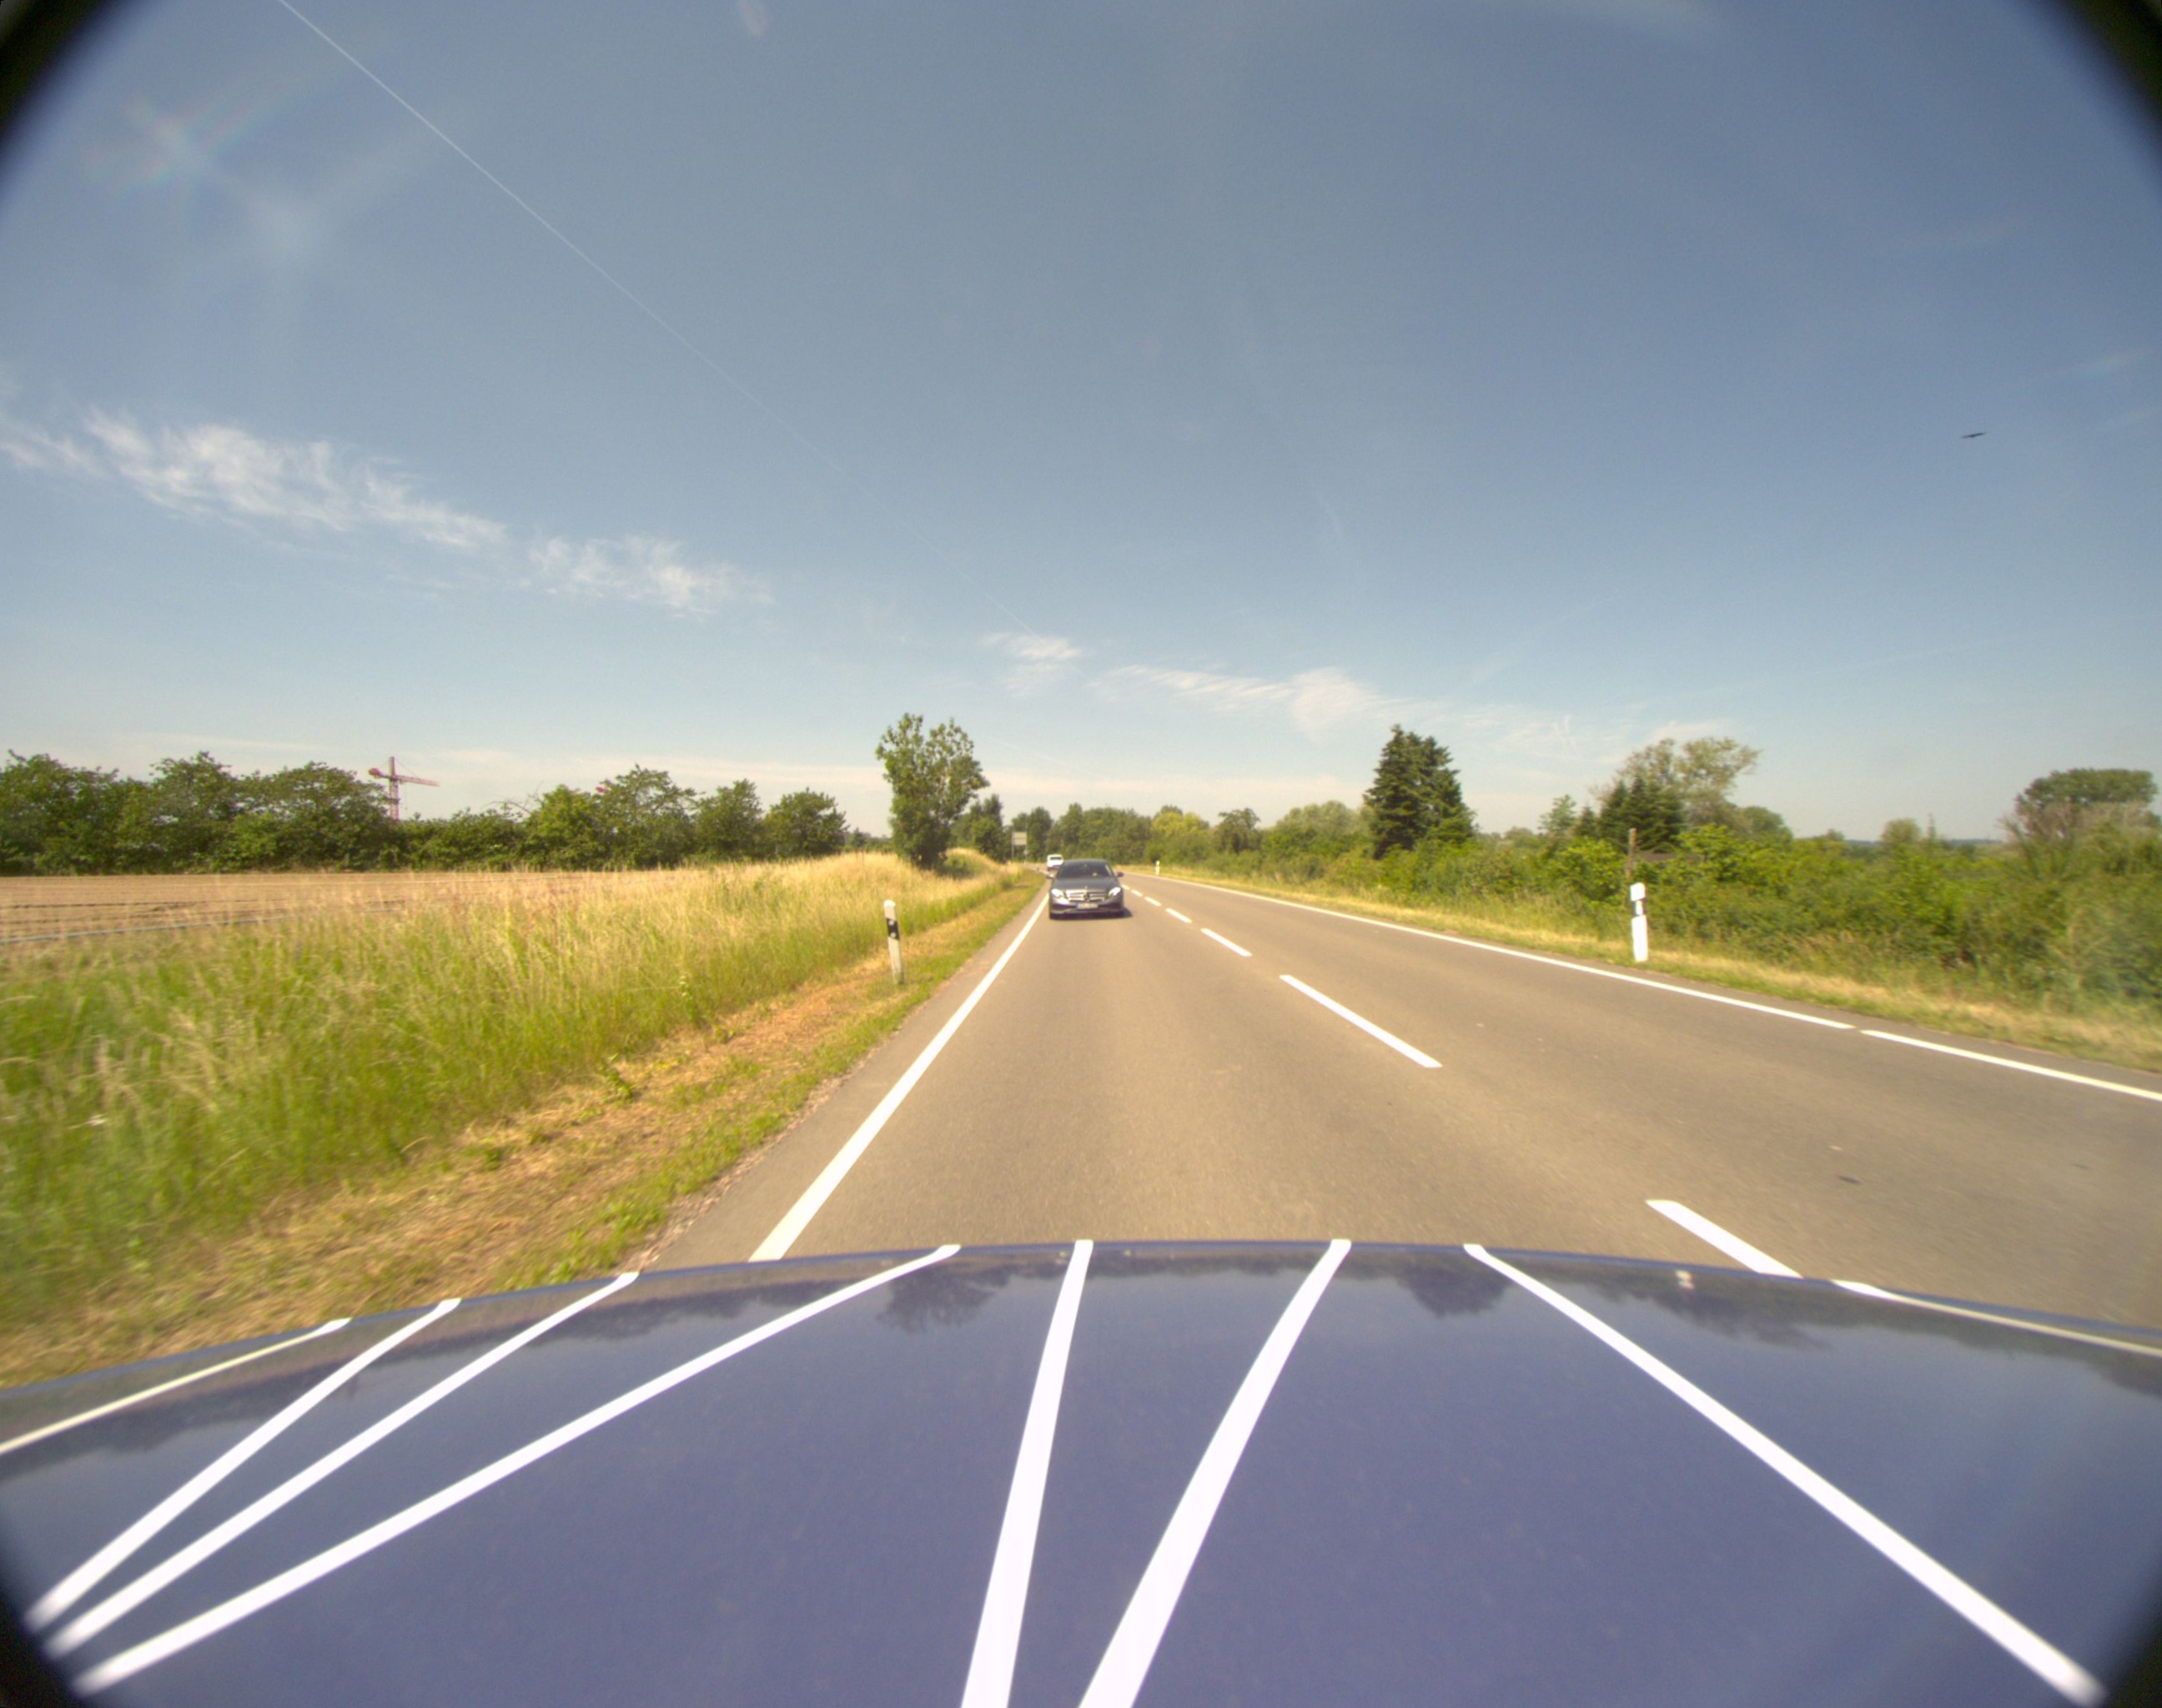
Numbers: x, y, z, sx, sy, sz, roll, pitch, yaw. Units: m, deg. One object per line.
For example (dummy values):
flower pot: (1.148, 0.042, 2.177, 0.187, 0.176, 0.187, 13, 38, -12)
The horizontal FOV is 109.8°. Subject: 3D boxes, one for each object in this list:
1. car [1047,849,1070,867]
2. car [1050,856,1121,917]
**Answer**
car: (-2.709, 0.479, 90.980, 2.180, 2.002, 5.022, -3, 0, -6)
car: (0.167, 0.862, 22.322, 1.831, 1.540, 4.499, -1, 0, 1)
